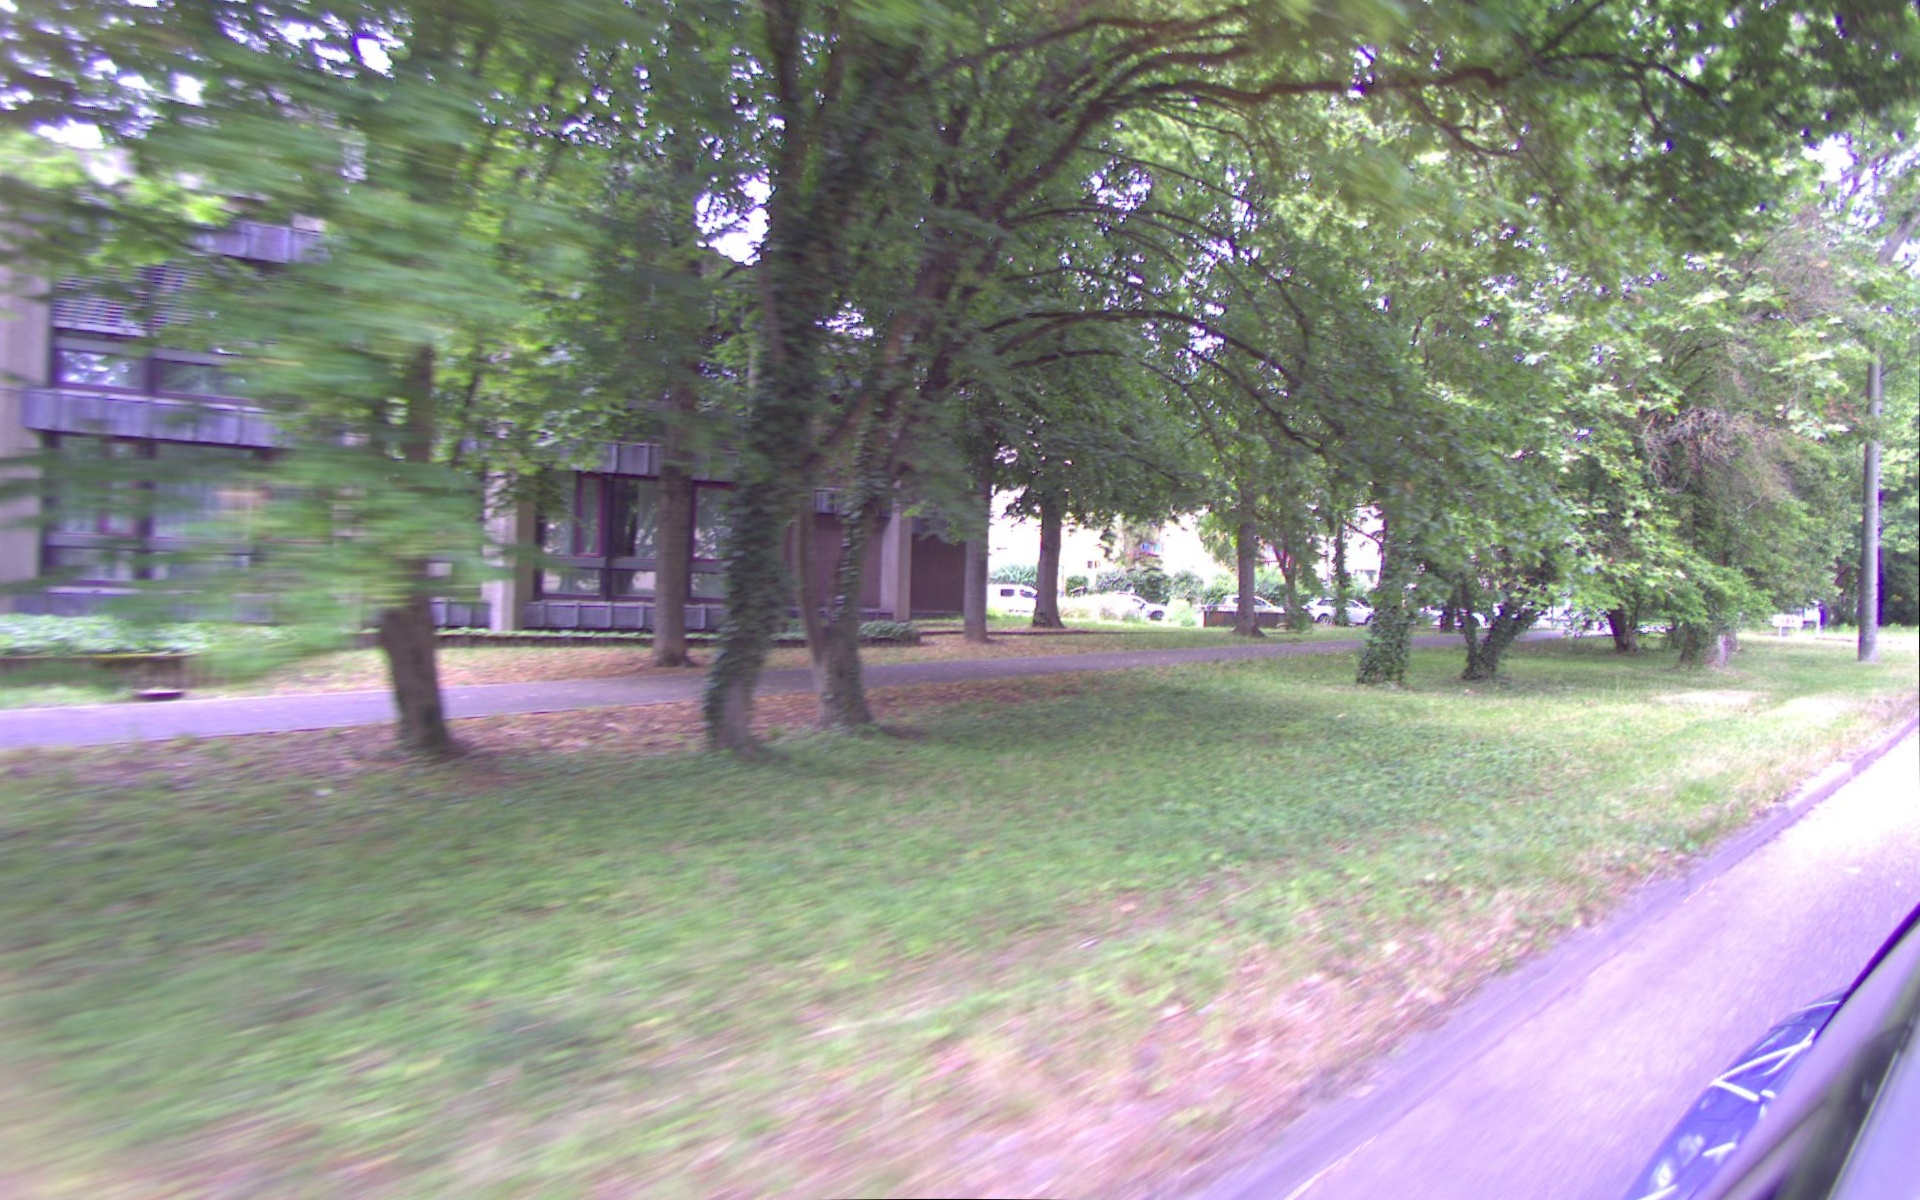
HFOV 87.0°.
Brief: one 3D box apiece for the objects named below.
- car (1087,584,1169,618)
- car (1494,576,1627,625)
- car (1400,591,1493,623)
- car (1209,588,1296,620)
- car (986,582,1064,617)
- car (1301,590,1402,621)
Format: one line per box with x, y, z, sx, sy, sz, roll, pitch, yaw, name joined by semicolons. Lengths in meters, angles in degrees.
8.663;0.051;52.476;3.925;1.696;1.799;1;0;1;car
30.143;0.027;50.996;5.250;2.328;2.282;1;0;15;car
24.934;0.346;51.957;3.933;1.529;1.795;1;0;9;car
15.152;0.206;52.536;3.924;1.529;1.800;1;0;0;car
3.340;-0.022;52.636;3.925;1.696;1.799;1;0;1;car
20.164;0.277;52.267;4.519;1.529;1.799;1;0;3;car
